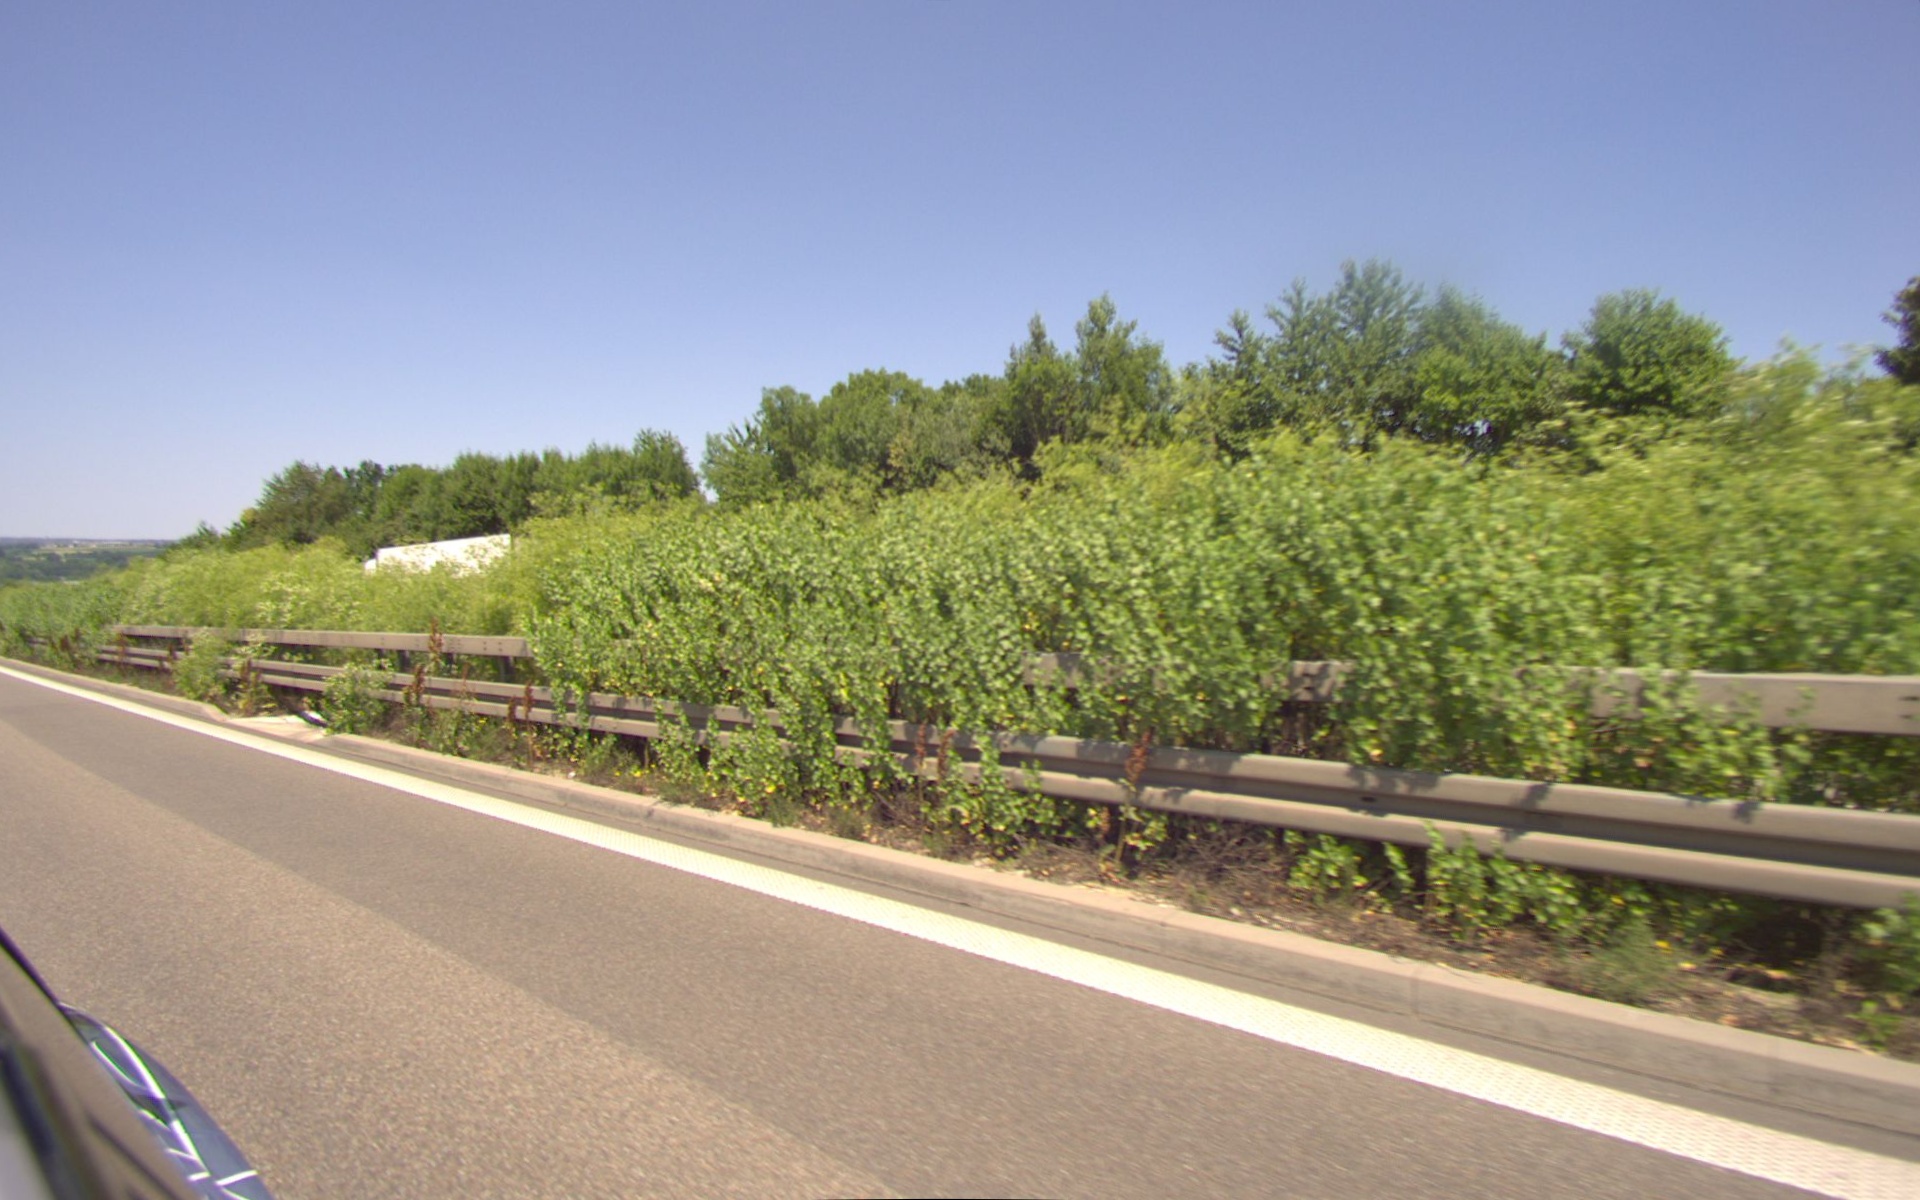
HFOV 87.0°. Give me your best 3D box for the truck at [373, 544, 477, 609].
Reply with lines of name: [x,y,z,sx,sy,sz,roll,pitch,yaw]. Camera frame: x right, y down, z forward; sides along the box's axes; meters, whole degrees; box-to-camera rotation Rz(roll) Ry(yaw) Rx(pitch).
truck: [-24.111,-0.999,45.582,4.643,2.769,2.660,-1,0,41]

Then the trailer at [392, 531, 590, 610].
trailer: [-19.521,-1.018,41.486,12.309,2.822,2.646,-1,0,41]
